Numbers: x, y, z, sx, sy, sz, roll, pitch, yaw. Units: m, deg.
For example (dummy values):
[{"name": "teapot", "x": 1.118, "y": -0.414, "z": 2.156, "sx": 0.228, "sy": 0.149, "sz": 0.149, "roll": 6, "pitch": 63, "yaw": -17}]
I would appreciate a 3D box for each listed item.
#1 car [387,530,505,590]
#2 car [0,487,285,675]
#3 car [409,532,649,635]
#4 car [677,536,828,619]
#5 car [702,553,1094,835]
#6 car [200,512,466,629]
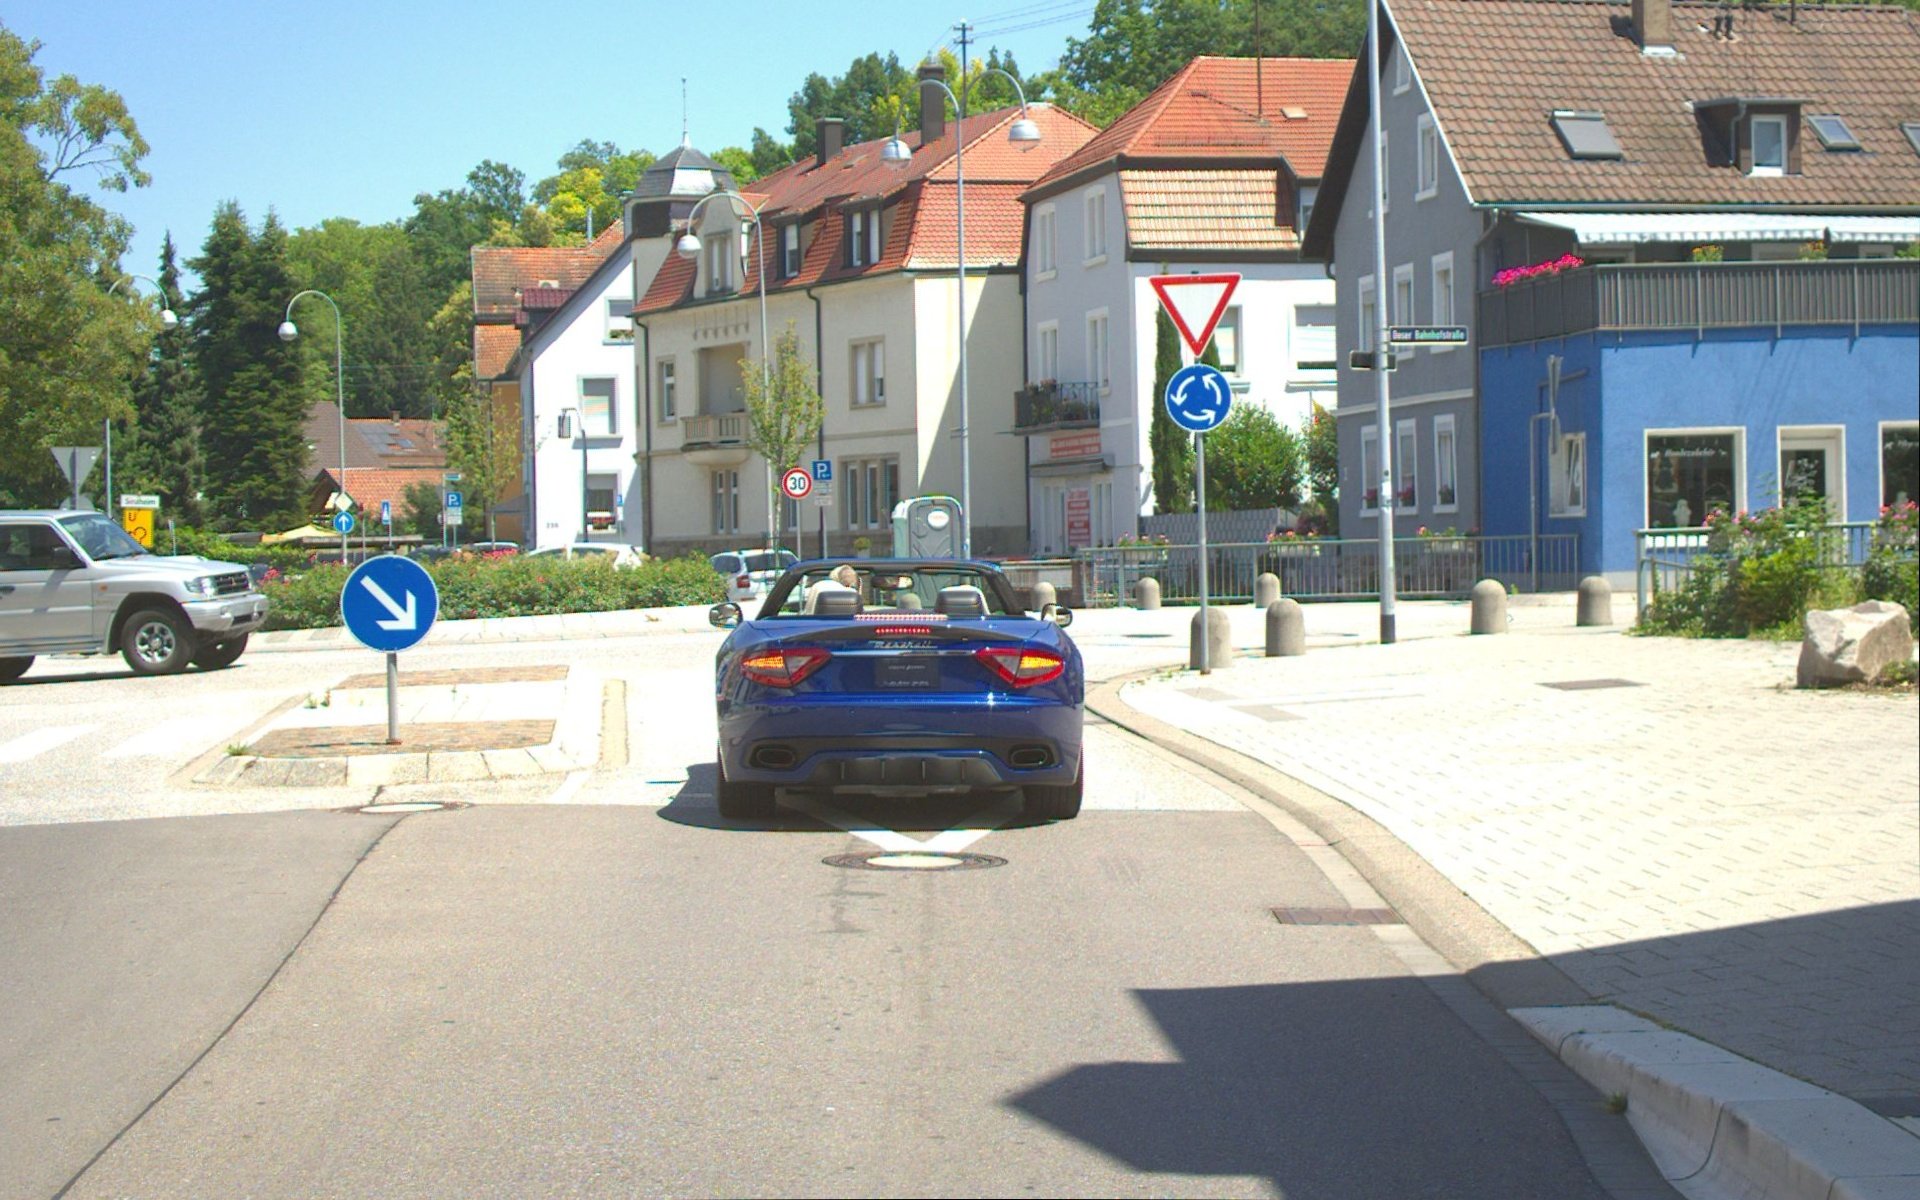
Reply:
[{"name": "car", "x": -14.811, "y": -1.136, "z": 98.953, "sx": 1.850, "sy": 1.582, "sz": 4.000, "roll": -3, "pitch": 1, "yaw": -32}, {"name": "car", "x": -9.389, "y": -0.202, "z": 35.879, "sx": 4.218, "sy": 1.868, "sz": 1.763, "roll": -1, "pitch": 1, "yaw": 10}, {"name": "car", "x": -6.649, "y": -0.268, "z": 53.243, "sx": 3.459, "sy": 1.445, "sz": 1.580, "roll": -2, "pitch": 1, "yaw": 1}, {"name": "car", "x": -4.392, "y": -0.450, "z": 72.189, "sx": 1.918, "sy": 1.607, "sz": 4.148, "roll": -2, "pitch": 0, "yaw": -22}, {"name": "car", "x": -0.328, "y": 0.429, "z": 18.961, "sx": 1.910, "sy": 1.356, "sz": 4.286, "roll": 0, "pitch": 1, "yaw": -1}, {"name": "car", "x": -7.889, "y": -0.355, "z": 42.996, "sx": 1.993, "sy": 1.325, "sz": 4.201, "roll": -3, "pitch": 1, "yaw": -29}]
